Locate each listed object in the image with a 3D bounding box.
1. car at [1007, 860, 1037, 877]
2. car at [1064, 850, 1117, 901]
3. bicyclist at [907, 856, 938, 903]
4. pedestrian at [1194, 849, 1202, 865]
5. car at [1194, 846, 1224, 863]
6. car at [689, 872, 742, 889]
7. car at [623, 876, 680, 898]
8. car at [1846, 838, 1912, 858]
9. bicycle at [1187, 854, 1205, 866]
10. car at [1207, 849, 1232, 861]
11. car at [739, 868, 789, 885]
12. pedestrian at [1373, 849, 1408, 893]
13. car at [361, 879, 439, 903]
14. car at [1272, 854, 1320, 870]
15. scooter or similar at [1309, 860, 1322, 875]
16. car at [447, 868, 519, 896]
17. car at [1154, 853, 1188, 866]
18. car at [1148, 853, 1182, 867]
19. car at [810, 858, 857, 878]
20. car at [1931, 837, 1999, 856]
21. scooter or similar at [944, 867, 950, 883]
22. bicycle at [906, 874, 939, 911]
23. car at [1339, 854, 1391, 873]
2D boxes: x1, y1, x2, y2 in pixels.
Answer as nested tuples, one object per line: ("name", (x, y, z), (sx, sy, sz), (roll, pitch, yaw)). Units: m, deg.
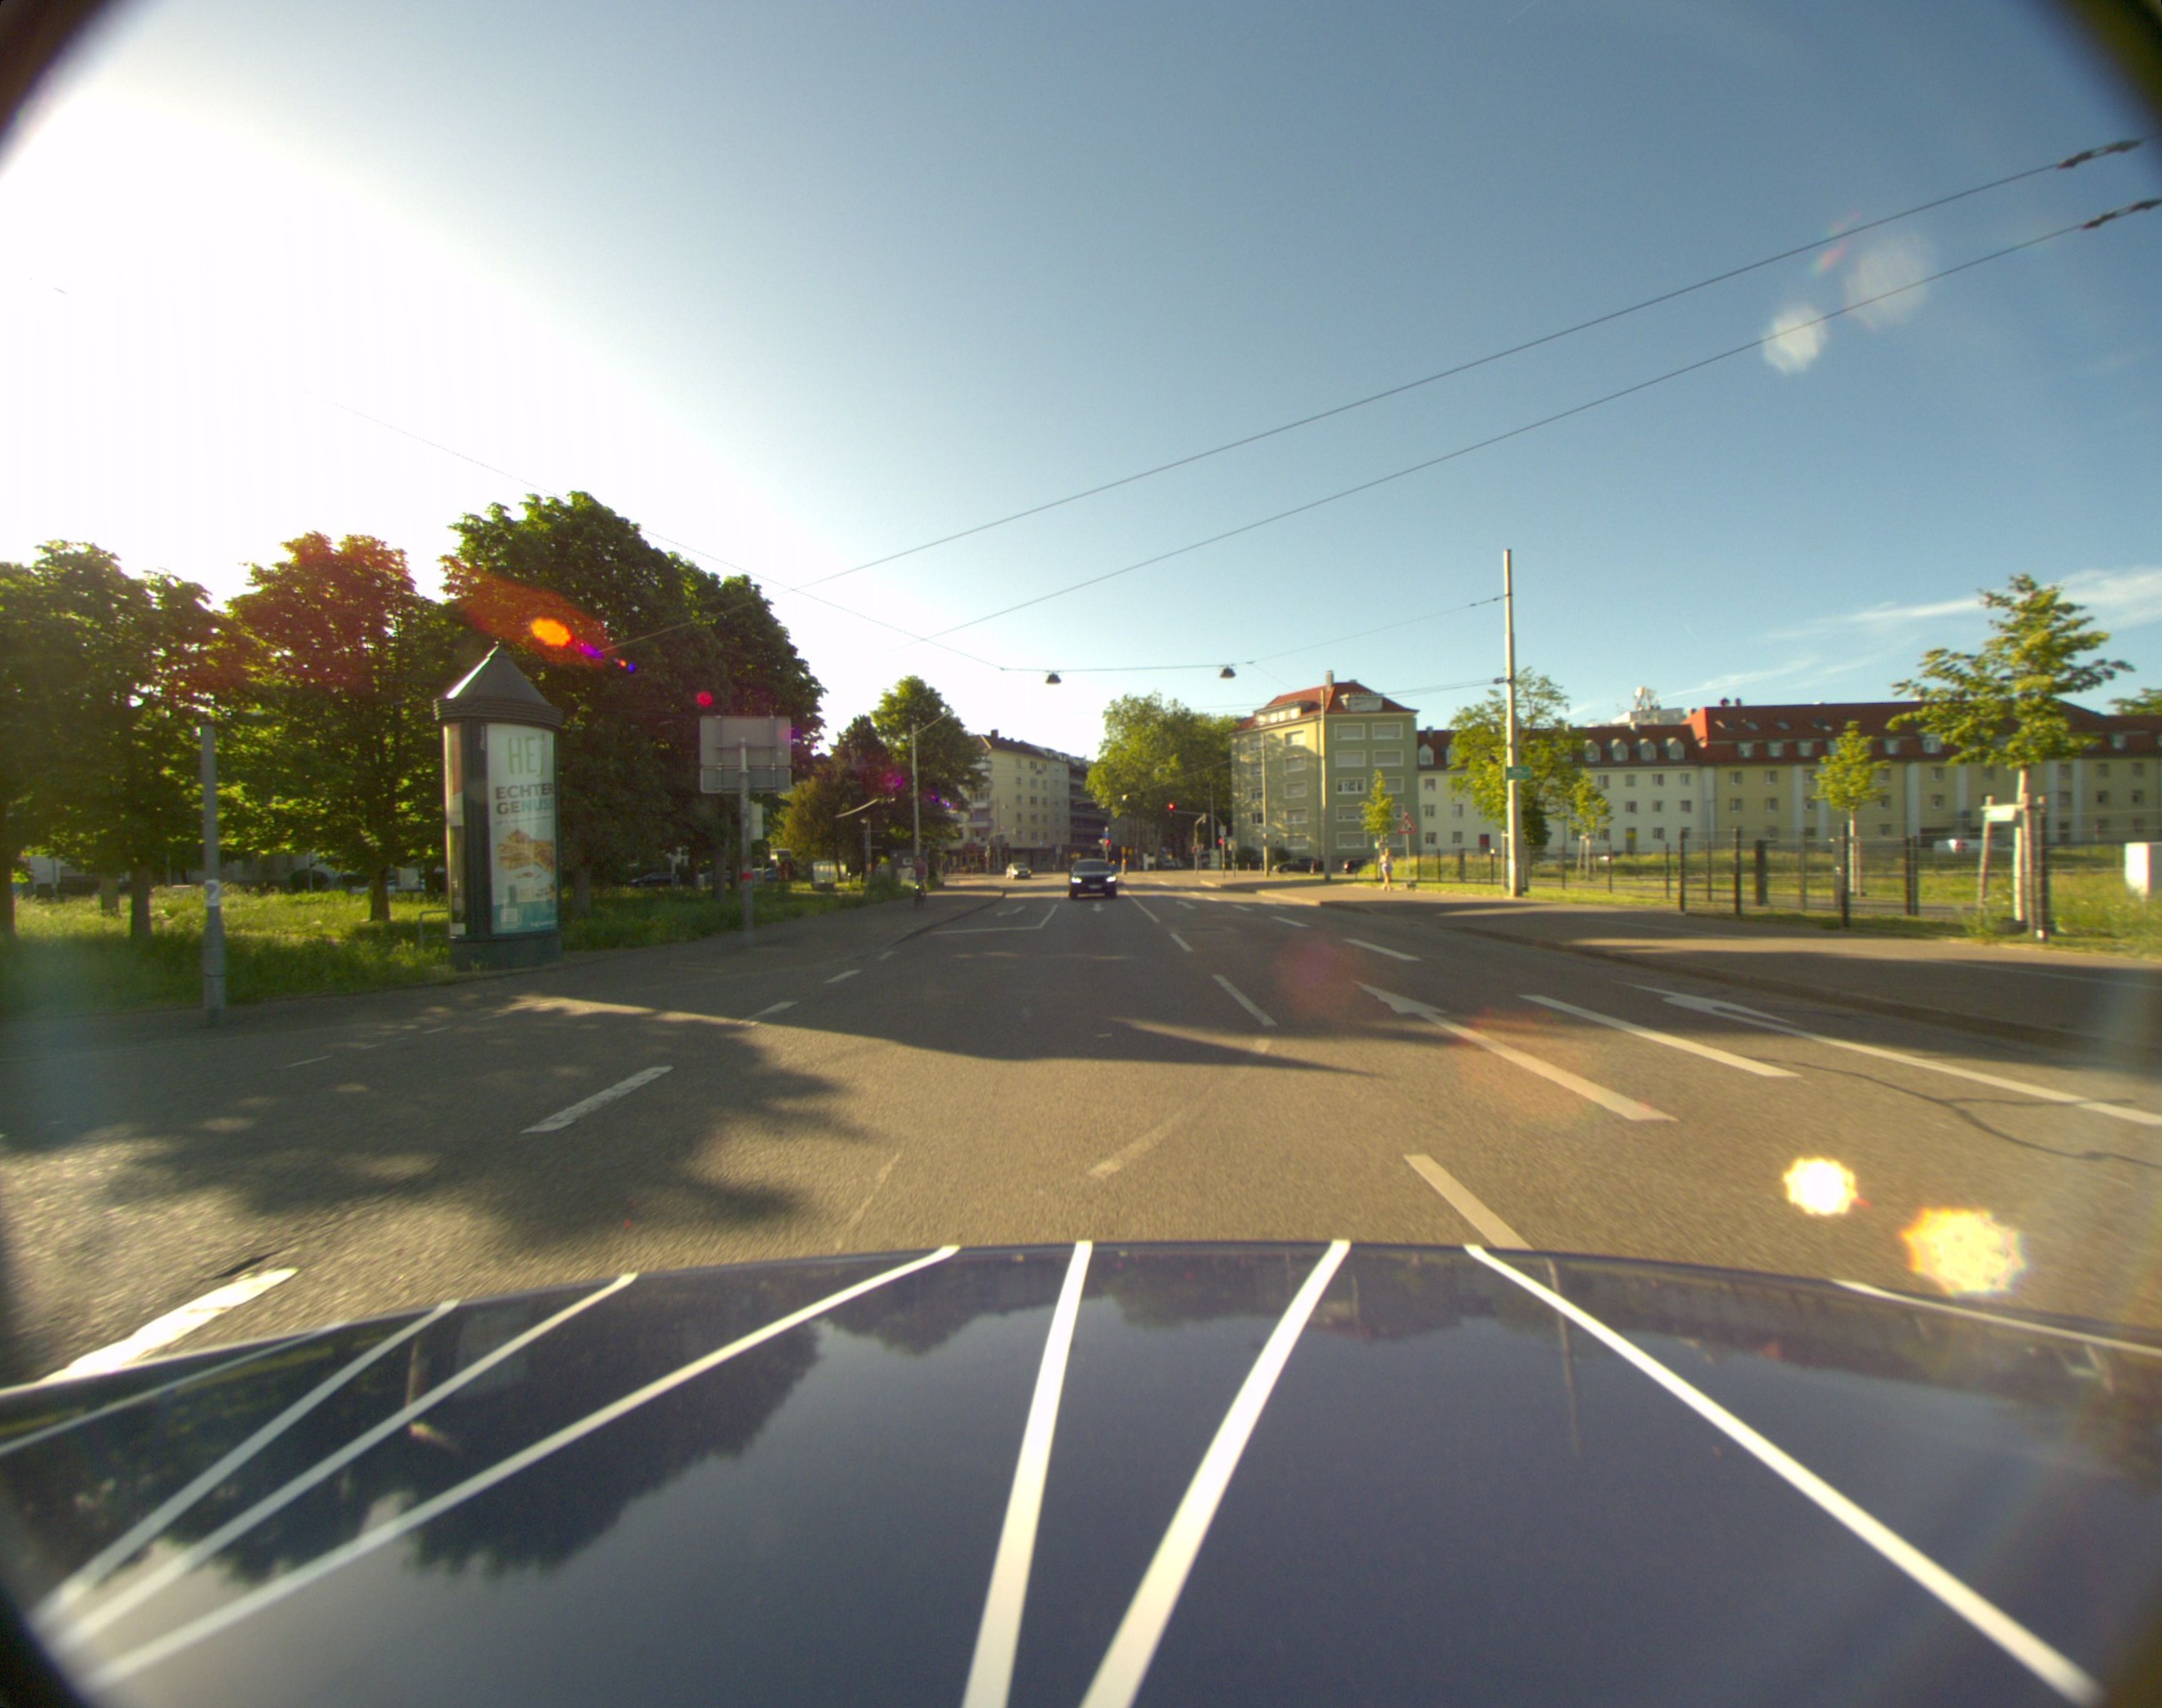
("car", (-5.462, 1.380, 70.420), (1.704, 1.432, 3.640), (-2, -1, -22))
("car", (0.362, 0.878, 33.645), (1.941, 1.923, 4.521), (-3, 1, -3))
("bicyclist", (-5.571, 0.875, 26.723), (0.813, 1.590, 1.149), (-1, 0, 1))
("pedestrian", (14.986, 0.392, 97.264), (0.695, 1.952, 0.929), (-2, 2, 31))
("car", (21.215, 0.060, 125.523), (4.412, 2.612, 1.972), (-3, 2, 22))
("car", (-35.777, 2.543, 74.470), (4.194, 1.337, 1.994), (-4, 2, -45))
("car", (-40.003, 3.031, 70.814), (4.194, 1.707, 1.994), (-4, 2, -45))
("car", (69.319, -0.507, 66.009), (3.900, 1.520, 1.701), (-1, -3, -2))
("bicycle", (14.552, 0.692, 96.044), (2.047, 1.454, 0.727), (1, 4, 30))
("car", (24.465, 0.186, 134.090), (3.992, 1.827, 1.818), (-3, 2, 22))
("car", (-32.196, 2.285, 77.322), (4.194, 1.340, 1.994), (-4, 2, -45))
("pedestrian", (11.965, 0.647, 29.392), (0.834, 1.620, 1.181), (-3, 0, 4))
("car", (-53.287, 2.860, 59.489), (4.386, 1.420, 1.687), (-4, 2, -44))
("car", (20.920, 0.822, 74.109), (4.204, 1.484, 1.943), (-1, -1, 2))
("scooter or similar", (19.167, 1.094, 62.102), (0.594, 1.137, 1.270), (-1, -4, 42))
("car", (-49.415, 2.323, 62.835), (4.340, 1.953, 1.905), (-4, 2, -44))
("car", (12.337, 0.761, 104.271), (4.140, 1.631, 1.777), (-3, 2, 22))
("car", (11.336, 0.812, 102.433), (4.140, 1.631, 1.777), (-3, 2, 22))
("car", (-26.673, 1.525, 81.924), (4.256, 1.847, 1.994), (-4, 2, -45))
("car", (76.511, -0.638, 65.791), (3.900, 1.520, 1.701), (-1, -3, -2))
("scooter or similar", (-10.034, 1.569, 56.669), (0.385, 1.211, 1.832), (0, -2, -11))
("bicycle", (-5.544, 1.335, 26.713), (0.720, 1.185, 2.001), (-1, 0, 1))
("car", (24.890, 0.845, 66.752), (3.900, 1.520, 1.701), (-1, -3, -2))
